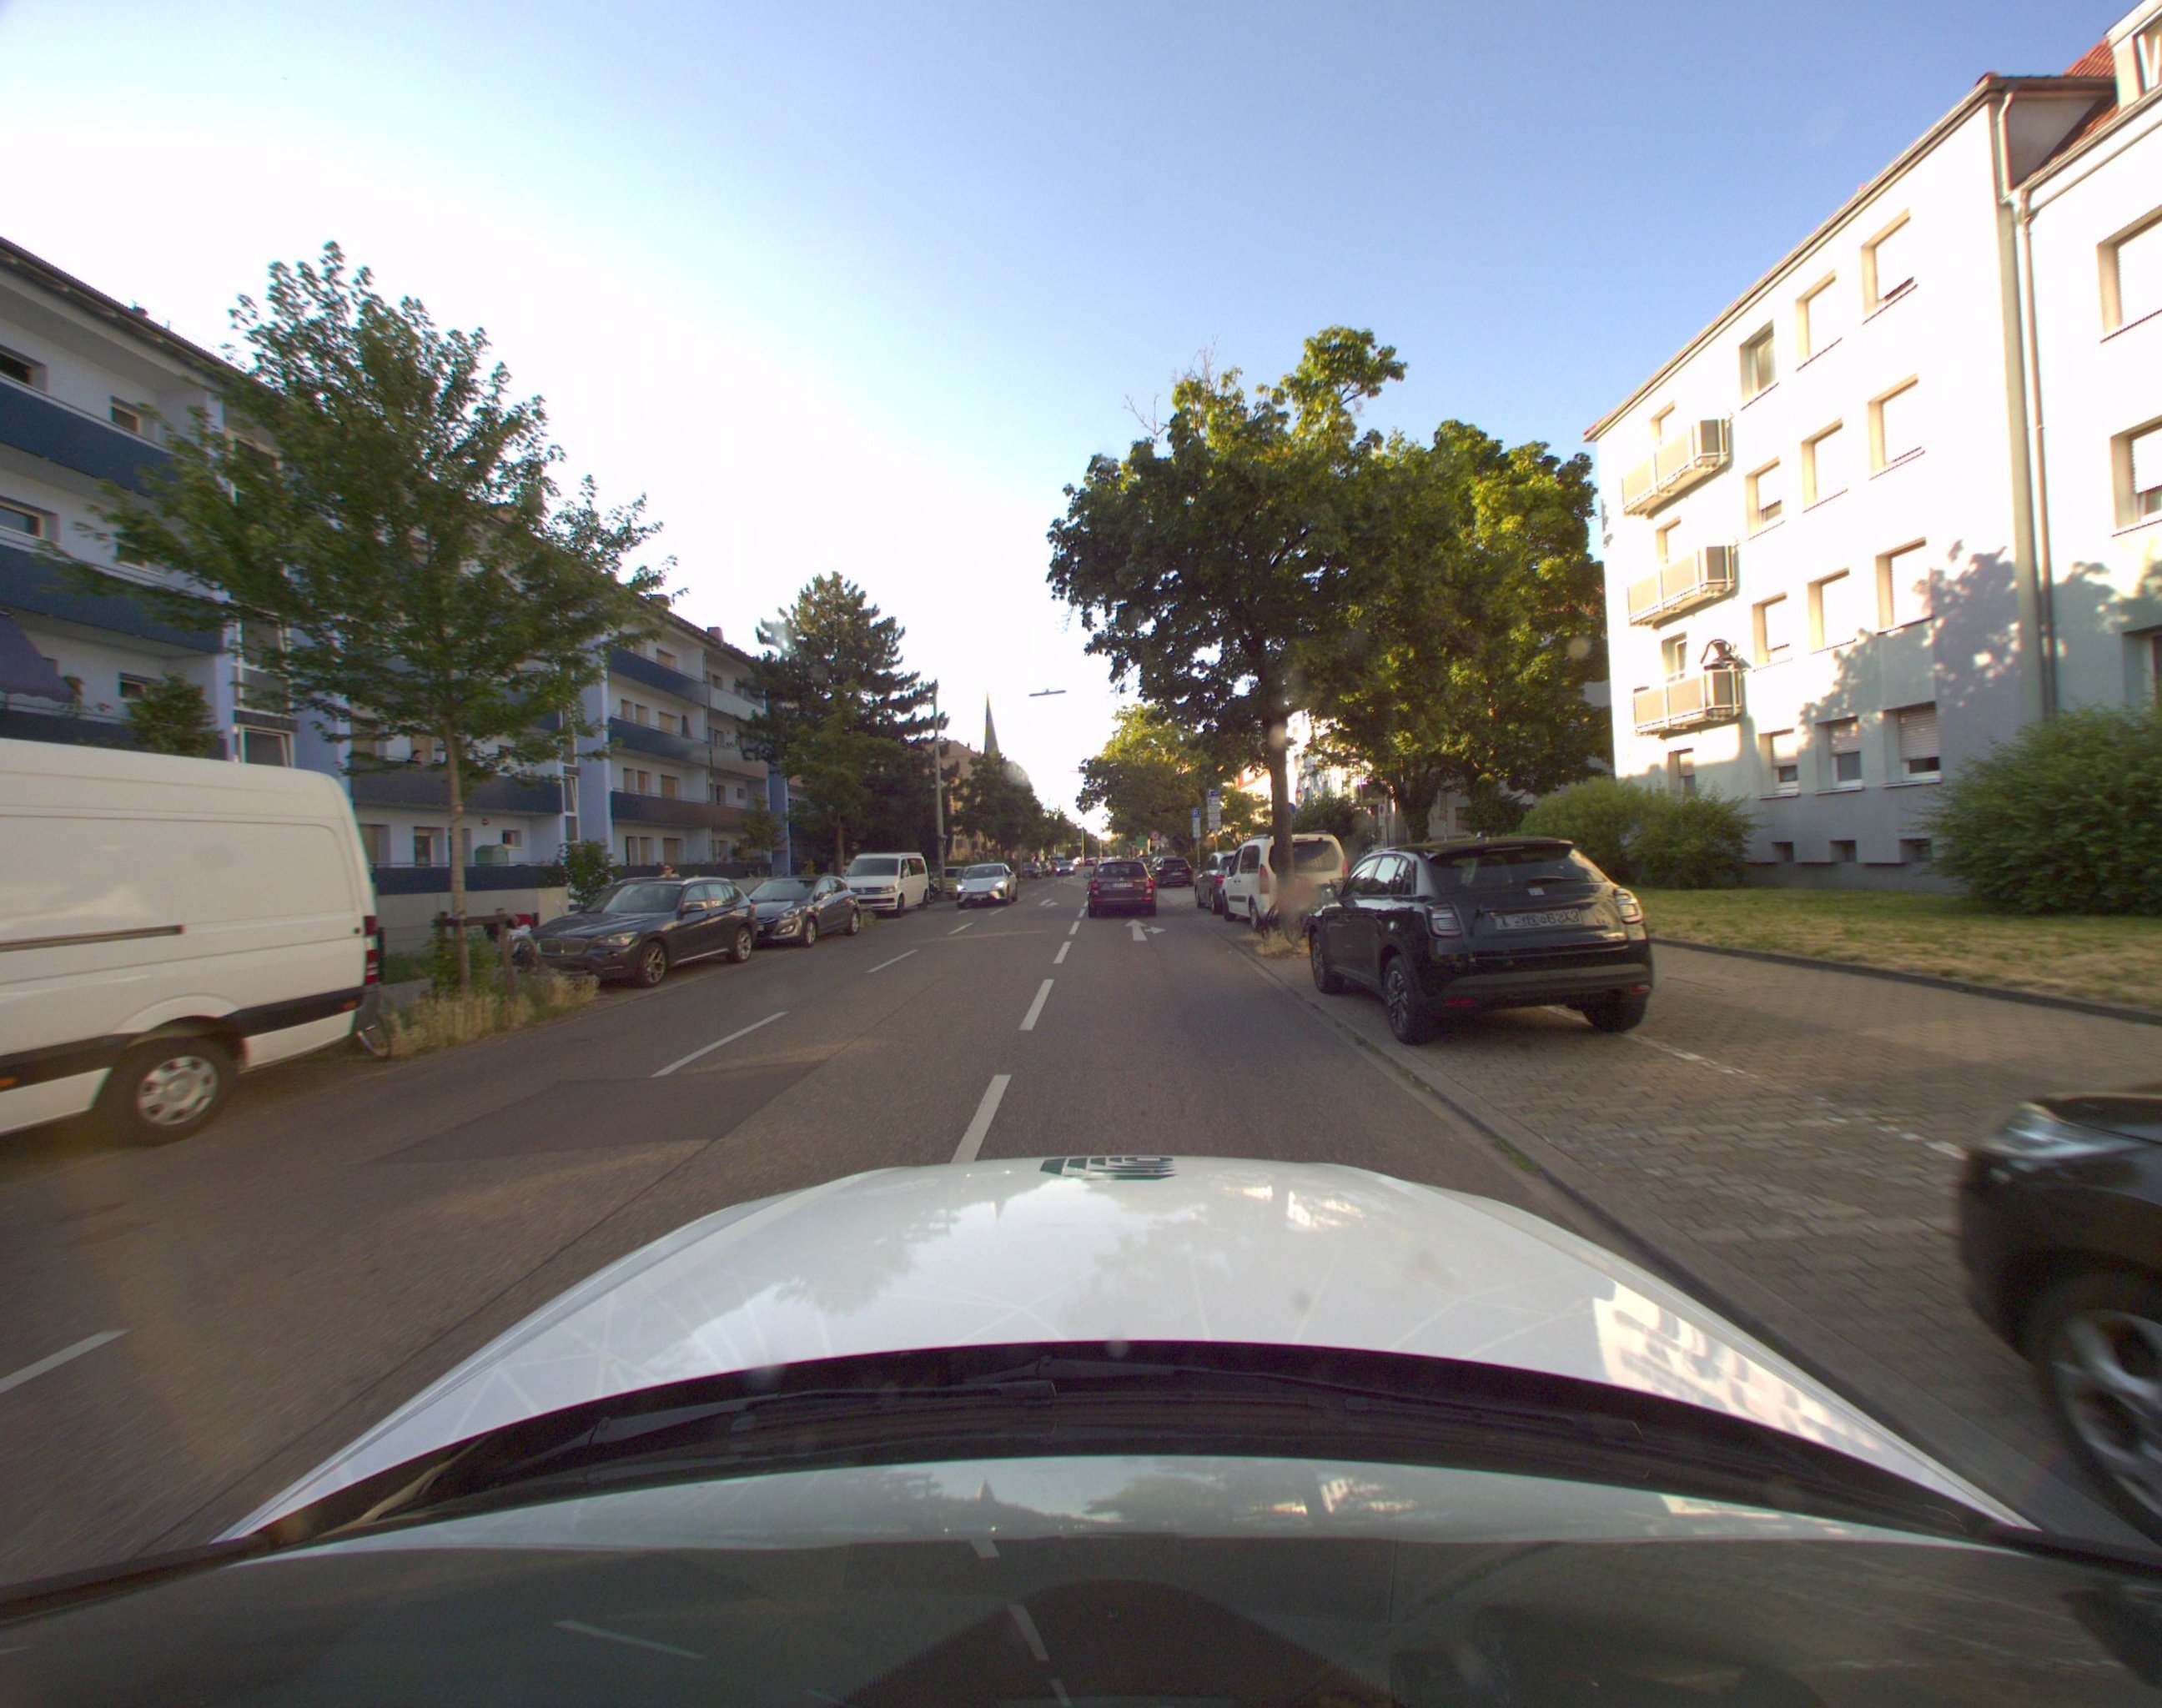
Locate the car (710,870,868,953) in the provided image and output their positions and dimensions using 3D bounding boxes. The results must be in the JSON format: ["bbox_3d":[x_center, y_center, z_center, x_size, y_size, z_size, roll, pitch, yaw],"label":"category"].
[{"bbox_3d":[-6.326,1.182,18.181,1.685,1.483,4.148,-3,0,4],"label":"car"}]

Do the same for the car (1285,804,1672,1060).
[{"bbox_3d":[3.263,0.553,7.750,1.746,1.662,4.256,-4,0,4],"label":"car"}]

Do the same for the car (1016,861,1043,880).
[{"bbox_3d":[-4.402,1.407,70.350,1.773,1.480,4.037,-1,0,4],"label":"car"}]

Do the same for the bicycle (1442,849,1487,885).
[{"bbox_3d":[10.903,0.362,23.201,0.473,0.944,1.681,-3,0,2],"label":"bicycle"}]

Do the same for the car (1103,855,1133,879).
[{"bbox_3d":[2.459,0.868,54.563,1.885,1.506,3.791,1,-1,2],"label":"car"}]

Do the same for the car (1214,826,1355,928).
[{"bbox_3d":[4.036,0.429,16.923,1.794,1.808,4.423,-1,0,0],"label":"car"}]

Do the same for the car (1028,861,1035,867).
[{"bbox_3d":[-14.634,2.911,239.423,1.991,1.750,3.992,-3,0,-5],"label":"car"}]

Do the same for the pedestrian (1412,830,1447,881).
[{"bbox_3d":[12.053,0.047,28.173,0.748,1.721,0.792,-3,-1,-39],"label":"pedestrian"}]

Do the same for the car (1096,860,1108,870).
[{"bbox_3d":[3.491,1.802,132.960,1.776,1.480,3.969,-1,0,-1],"label":"car"}]

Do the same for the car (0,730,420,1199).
[{"bbox_3d":[-7.059,0.632,3.778,1.986,2.616,7.107,-1,0,2],"label":"car"}]

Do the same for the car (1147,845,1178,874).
[{"bbox_3d":[5.561,0.367,56.139,1.908,1.860,5.638,-3,0,4],"label":"car"}]

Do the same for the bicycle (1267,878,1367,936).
[{"bbox_3d":[3.976,0.888,13.749,1.551,0.869,0.392,-3,-1,-7],"label":"bicycle"}]

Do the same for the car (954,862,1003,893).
[{"bbox_3d":[-5.328,1.213,42.693,1.773,1.494,3.975,-1,0,4],"label":"car"}]

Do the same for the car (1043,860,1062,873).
[{"bbox_3d":[-3.423,1.505,99.035,1.773,1.480,3.975,-1,0,4],"label":"car"}]

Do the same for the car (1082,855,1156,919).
[{"bbox_3d":[1.037,0.799,21.523,1.746,1.492,4.004,-1,0,4],"label":"car"}]

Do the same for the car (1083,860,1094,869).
[{"bbox_3d":[1.442,2.070,161.384,1.989,1.750,3.995,-3,0,-3],"label":"car"}]

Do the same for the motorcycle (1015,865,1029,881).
[{"bbox_3d":[-4.682,1.482,64.391,0.736,1.204,2.144,-1,0,5],"label":"motorcycle"}]

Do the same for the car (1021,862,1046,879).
[{"bbox_3d":[-4.412,1.508,76.433,1.773,1.480,3.975,-1,0,4],"label":"car"}]

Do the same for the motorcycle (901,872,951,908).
[{"bbox_3d":[-6.020,1.388,31.864,0.653,1.204,2.345,-4,0,23],"label":"motorcycle"}]

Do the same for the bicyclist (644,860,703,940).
[{"bbox_3d":[-8.570,0.953,17.143,0.600,1.593,0.942,-3,-1,9],"label":"bicyclist"}]

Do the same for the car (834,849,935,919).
[{"bbox_3d":[-6.345,0.920,26.929,1.862,2.031,5.302,-2,0,1],"label":"car"}]

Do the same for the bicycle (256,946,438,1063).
[{"bbox_3d":[-6.968,1.413,7.739,1.463,1.014,0.441,-2,0,9],"label":"bicycle"}]

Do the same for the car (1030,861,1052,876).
[{"bbox_3d":[-4.066,1.481,82.869,1.773,1.480,3.975,-1,0,4],"label":"car"}]

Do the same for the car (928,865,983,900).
[{"bbox_3d":[-5.711,1.267,37.397,1.611,1.480,3.876,-1,0,4],"label":"car"}]

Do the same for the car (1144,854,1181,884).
[{"bbox_3d":[4.548,0.835,45.866,1.748,1.557,4.104,-1,0,1],"label":"car"}]

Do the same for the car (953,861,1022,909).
[{"bbox_3d":[-3.309,1.075,29.642,1.774,1.494,3.973,-5,0,2],"label":"car"}]

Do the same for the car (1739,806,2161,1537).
[{"bbox_3d":[2.929,0.605,0.656,1.607,1.466,3.960,-4,0,2],"label":"car"}]

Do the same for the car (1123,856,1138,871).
[{"bbox_3d":[6.359,1.174,104.595,1.747,1.806,4.002,-1,0,2],"label":"car"}]

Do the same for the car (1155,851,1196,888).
[{"bbox_3d":[4.557,0.721,39.766,1.746,1.686,4.256,-1,0,4],"label":"car"}]

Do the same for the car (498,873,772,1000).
[{"bbox_3d":[-6.840,1.158,13.164,1.665,1.543,4.477,-3,0,4],"label":"car"}]

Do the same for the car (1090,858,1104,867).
[{"bbox_3d":[3.618,1.911,185.089,1.998,1.750,3.978,-3,0,-16],"label":"car"}]

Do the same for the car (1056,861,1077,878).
[{"bbox_3d":[-1.389,1.491,81.298,1.733,1.479,4.311,-6,0,2],"label":"car"}]

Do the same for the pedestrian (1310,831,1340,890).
[{"bbox_3d":[8.045,0.207,26.876,0.793,1.861,0.954,-3,-1,13],"label":"pedestrian"}]

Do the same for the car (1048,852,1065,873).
[{"bbox_3d":[-3.298,1.172,111.611,1.984,2.781,5.505,-1,0,1],"label":"car"}]

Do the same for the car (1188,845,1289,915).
[{"bbox_3d":[4.063,0.623,21.682,1.749,1.556,4.251,-4,0,0],"label":"car"}]

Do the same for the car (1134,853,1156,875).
[{"bbox_3d":[5.372,0.808,68.367,1.746,1.715,4.004,-1,0,4],"label":"car"}]

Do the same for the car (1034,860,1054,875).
[{"bbox_3d":[-3.997,1.467,88.571,1.773,1.480,3.975,-1,0,4],"label":"car"}]

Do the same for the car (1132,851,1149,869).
[{"bbox_3d":[6.407,0.643,87.508,1.746,1.806,4.004,-1,0,4],"label":"car"}]

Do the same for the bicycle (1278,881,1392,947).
[{"bbox_3d":[3.773,0.888,12.157,1.548,0.869,0.393,-3,-1,-2],"label":"bicycle"}]
